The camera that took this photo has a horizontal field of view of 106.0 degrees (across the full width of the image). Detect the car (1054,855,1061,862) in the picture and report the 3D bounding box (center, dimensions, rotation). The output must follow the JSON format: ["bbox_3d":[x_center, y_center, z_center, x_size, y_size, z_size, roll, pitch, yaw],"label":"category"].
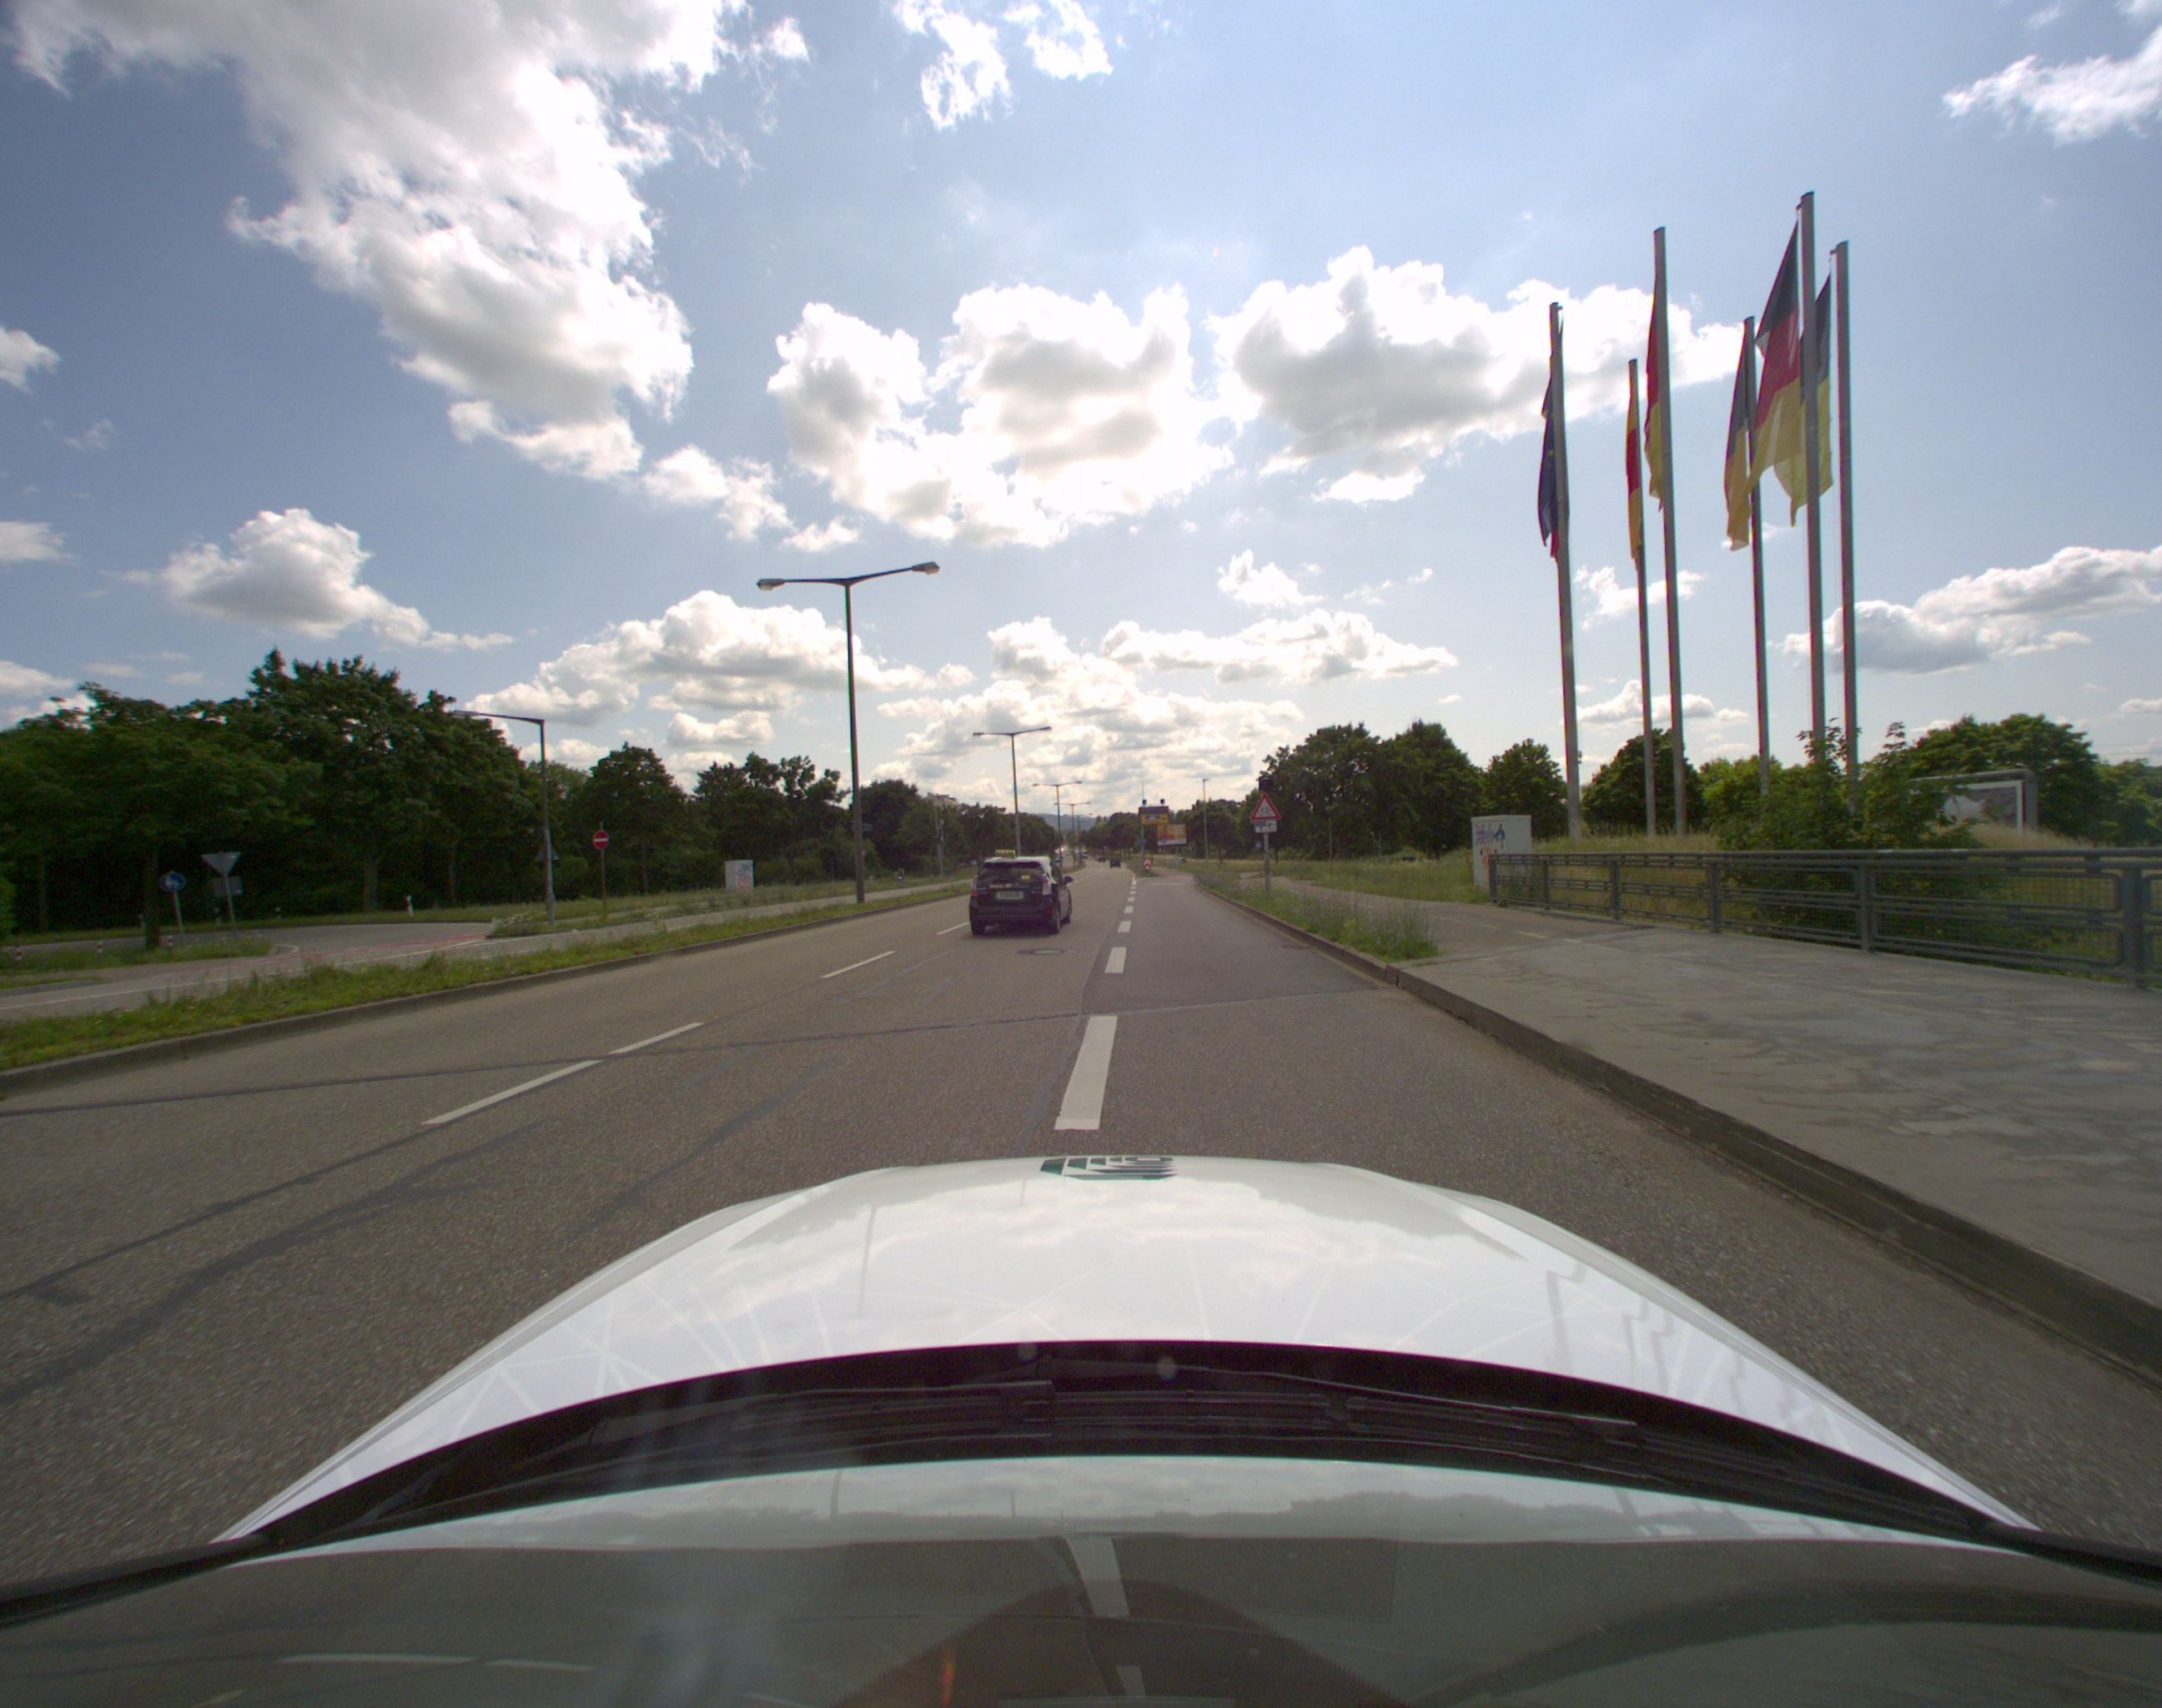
[{"bbox_3d":[-6.765,1.329,234.309,1.870,1.790,4.728,-4,0,1],"label":"car"}]

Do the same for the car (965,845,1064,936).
[{"bbox_3d":[-1.302,0.672,17.459,1.774,1.683,4.000,-1,1,0],"label":"car"}]

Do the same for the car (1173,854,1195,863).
[{"bbox_3d":[17.040,0.740,134.855,2.002,1.508,3.970,-1,1,-23],"label":"car"}]

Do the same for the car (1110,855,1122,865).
[{"bbox_3d":[6.019,0.986,139.588,1.987,1.662,4.000,-1,1,0],"label":"car"}]

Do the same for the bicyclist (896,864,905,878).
[{"bbox_3d":[-16.830,1.612,75.867,0.519,1.272,1.107,-1,1,0],"label":"bicyclist"}]

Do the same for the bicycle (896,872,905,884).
[{"bbox_3d":[-16.798,2.215,75.844,0.430,1.068,1.908,-1,1,0],"label":"bicycle"}]

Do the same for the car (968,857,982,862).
[{"bbox_3d":[-32.220,1.778,247.832,3.769,1.387,1.787,-1,1,3],"label":"car"}]
